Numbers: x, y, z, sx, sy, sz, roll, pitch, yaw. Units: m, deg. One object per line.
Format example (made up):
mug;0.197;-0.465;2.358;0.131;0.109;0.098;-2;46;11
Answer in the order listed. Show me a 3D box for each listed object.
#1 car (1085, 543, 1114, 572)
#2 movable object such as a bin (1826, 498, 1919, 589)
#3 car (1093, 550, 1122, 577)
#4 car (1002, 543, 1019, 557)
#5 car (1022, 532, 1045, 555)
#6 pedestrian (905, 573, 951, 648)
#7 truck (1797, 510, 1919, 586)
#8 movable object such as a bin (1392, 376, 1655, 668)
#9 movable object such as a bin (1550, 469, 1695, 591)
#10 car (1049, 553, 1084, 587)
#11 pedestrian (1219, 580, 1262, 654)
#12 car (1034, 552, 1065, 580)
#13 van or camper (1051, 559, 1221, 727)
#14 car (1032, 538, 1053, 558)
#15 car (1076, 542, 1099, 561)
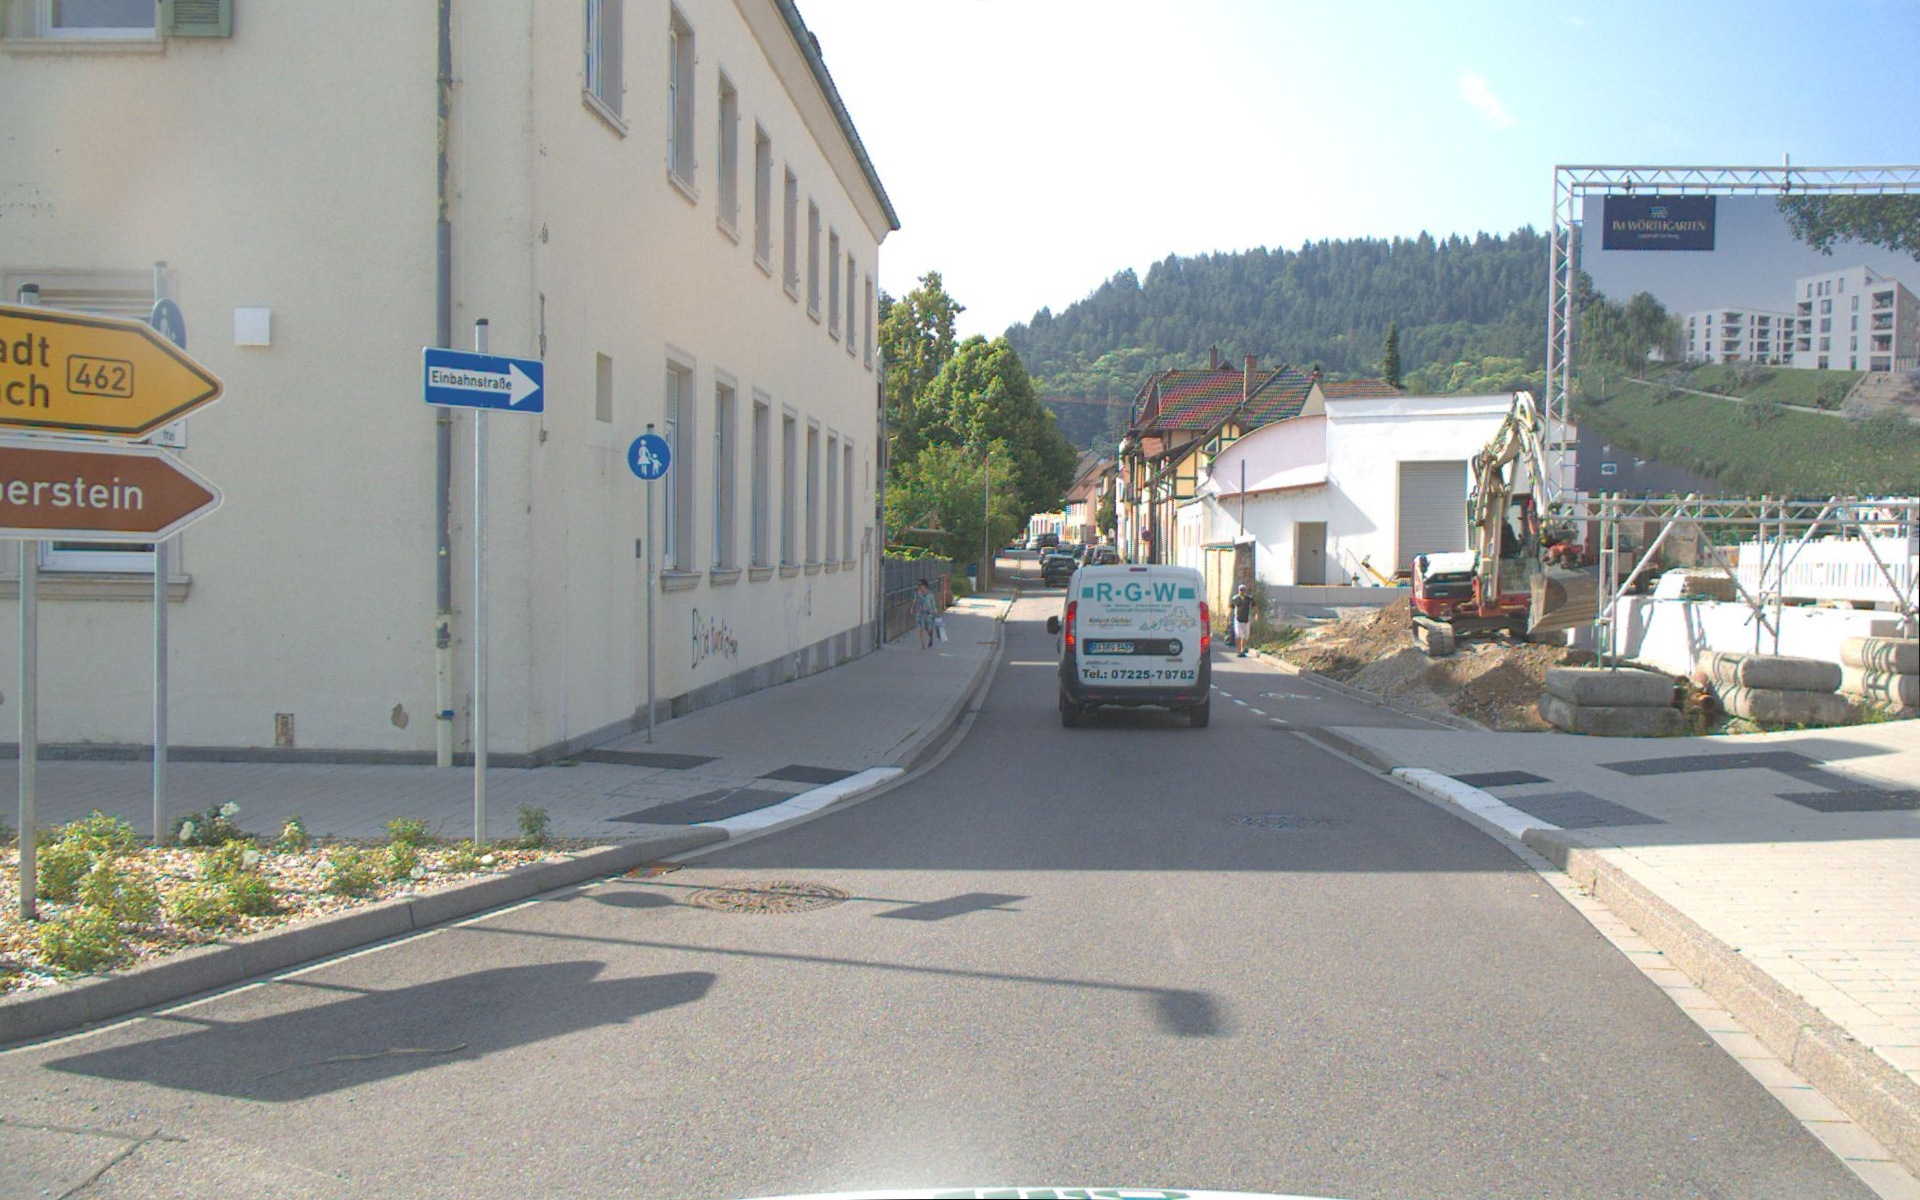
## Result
car;10.157;-3.120;120.689;1.832;2.048;4.002;2;2;2
movable object such as a bin;28.068;-1.646;48.698;4.524;2.614;1.922;0;1;29
car;9.843;-2.460;110.675;1.773;1.624;3.929;3;3;3
car;7.036;-6.976;230.945;1.738;1.830;3.993;1;2;-8
car;9.696;-7.462;217.764;2.815;2.884;6.126;0;2;1
pedestrian;-0.738;0.235;38.210;0.938;1.659;0.758;3;1;3
truck;29.274;-1.626;51.990;5.214;2.305;2.215;0;1;29
movable object such as a bin;8.784;-1.171;26.718;2.246;3.920;7.805;3;2;7
movable object such as a bin;21.723;-2.253;54.063;2.805;3.683;5.711;5;3;37
car;5.751;-1.655;89.664;1.773;1.624;3.929;3;3;3
pedestrian;6.708;0.395;39.585;0.870;1.712;0.719;2;1;3
car;5.680;-2.190;105.764;1.773;1.624;3.928;3;3;1
van or camper;2.092;0.486;20.675;1.790;1.877;4.189;0;0;2
car;7.284;-4.596;146.182;1.773;1.624;3.929;3;3;3
car;10.574;-4.055;137.321;1.635;1.534;4.001;0;2;1
